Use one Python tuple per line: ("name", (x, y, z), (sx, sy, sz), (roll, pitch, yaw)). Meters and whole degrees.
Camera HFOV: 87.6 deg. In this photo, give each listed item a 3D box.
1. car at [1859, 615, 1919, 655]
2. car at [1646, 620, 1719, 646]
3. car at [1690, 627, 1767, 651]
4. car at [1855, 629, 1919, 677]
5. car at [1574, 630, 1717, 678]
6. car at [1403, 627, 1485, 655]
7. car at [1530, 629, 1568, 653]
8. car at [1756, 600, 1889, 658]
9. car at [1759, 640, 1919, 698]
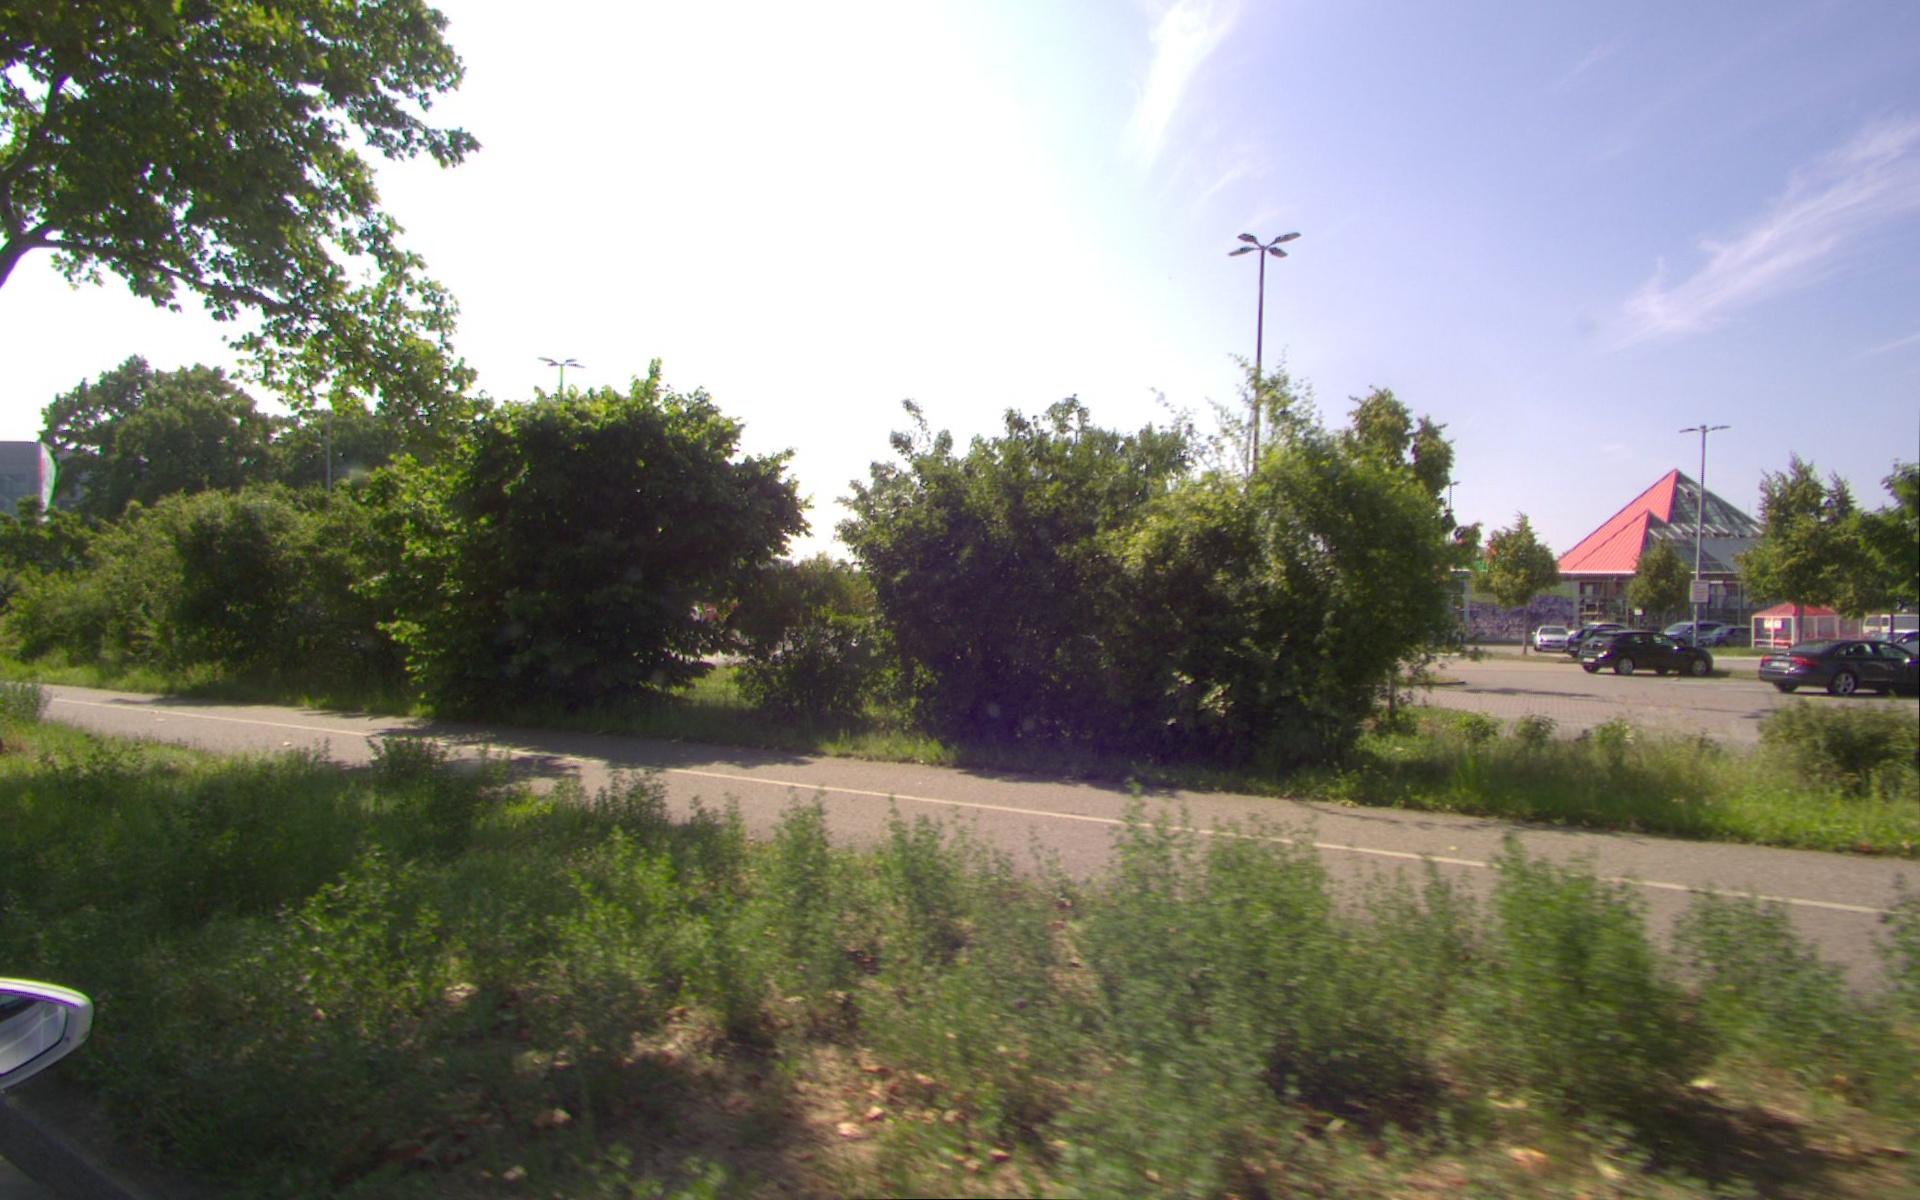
("car", (54.738, 2.017, 58.112), (3.511, 2.257, 2.004), (1, -1, -6))
("car", (43.016, 1.974, 59.654), (3.256, 1.529, 1.394), (1, -2, 5))
("car", (43.803, 2.231, 57.122), (3.256, 1.265, 1.394), (1, -2, 5))
("car", (44.358, 2.464, 47.008), (3.484, 2.191, 1.558), (1, -1, -6))
("car", (22.363, 1.768, 32.733), (3.798, 1.460, 1.496), (1, -2, -6))
("car", (28.469, 2.403, 58.931), (3.924, 1.517, 1.999), (1, -1, -8))
("car", (32.122, 2.251, 54.572), (1.615, 1.282, 3.721), (0, -3, 33))
("car", (44.850, 1.494, 52.140), (5.182, 2.889, 2.307), (1, -1, -6))
("car", (22.661, 1.726, 25.222), (3.922, 1.371, 1.445), (1, -1, 0))
